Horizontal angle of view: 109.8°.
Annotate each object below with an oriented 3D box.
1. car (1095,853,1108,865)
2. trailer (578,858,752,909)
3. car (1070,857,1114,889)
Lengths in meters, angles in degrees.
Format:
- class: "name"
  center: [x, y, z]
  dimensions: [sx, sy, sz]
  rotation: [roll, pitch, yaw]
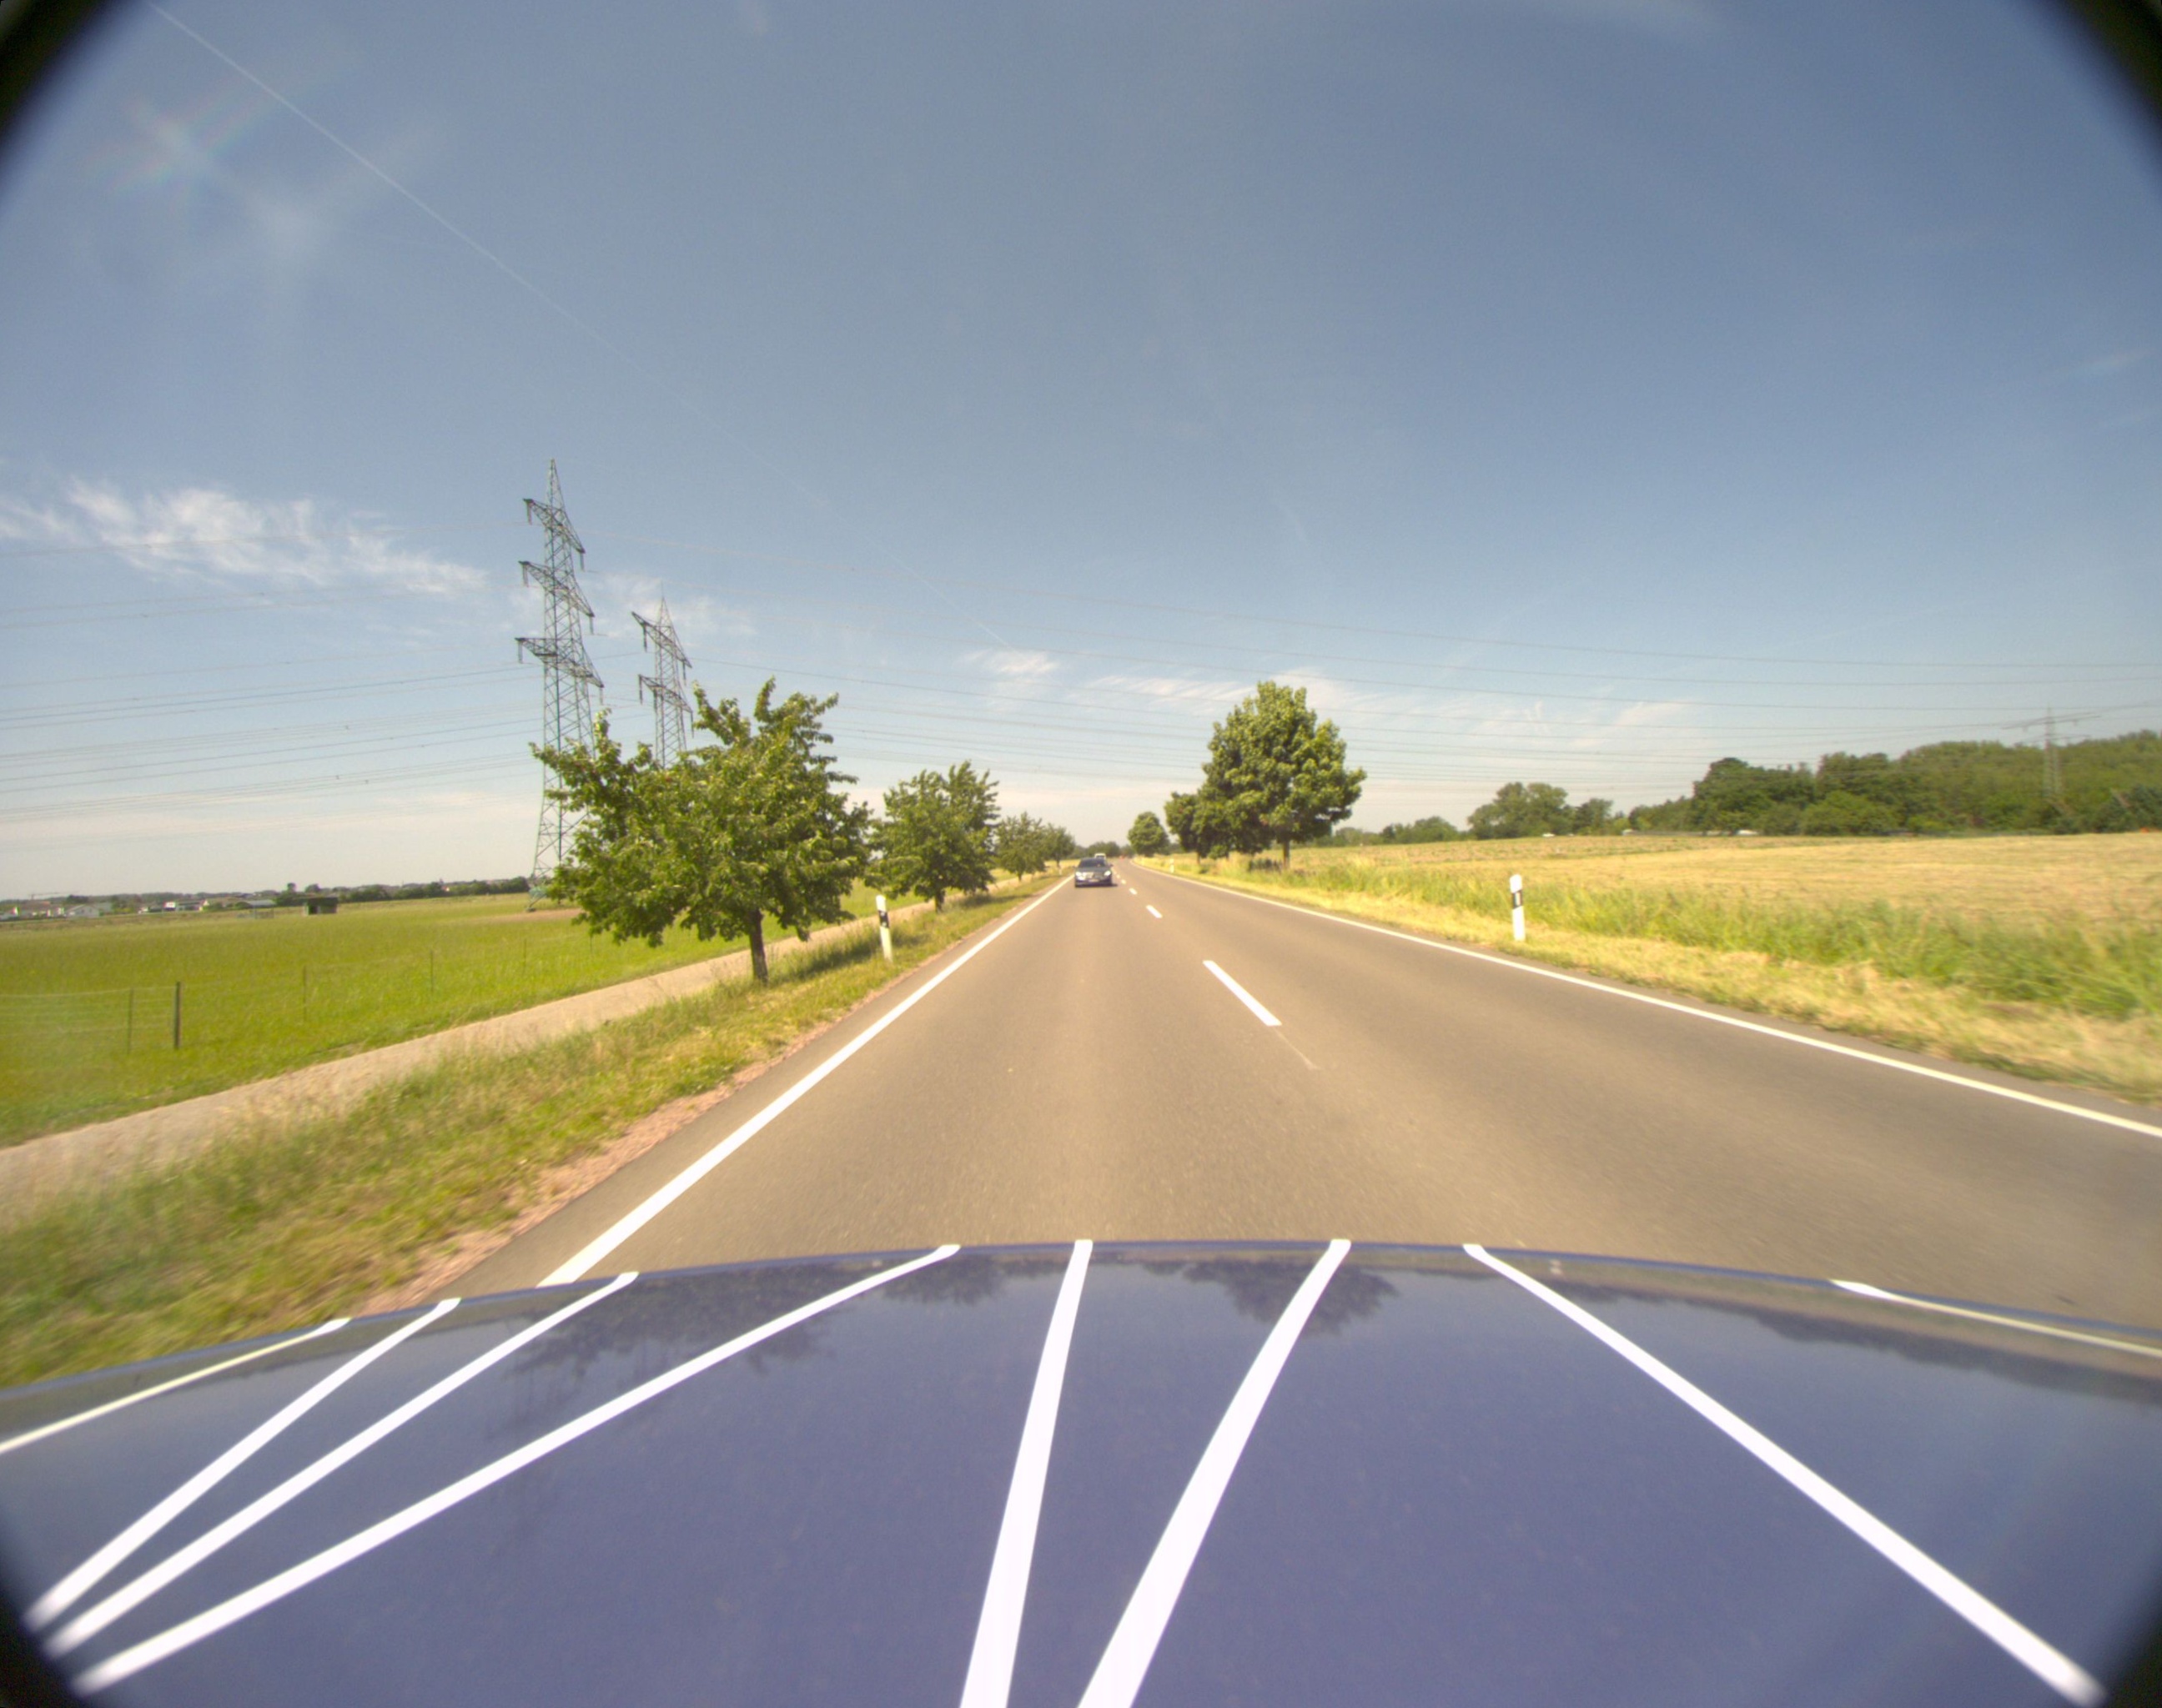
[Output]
- class: "car"
  center: [3.373, 0.786, 123.422]
  dimensions: [1.998, 1.907, 4.206]
  rotation: [-3, 0, 1]
- class: "trailer"
  center: [-34.800, 2.455, 63.955]
  dimensions: [12.441, 3.452, 3.805]
  rotation: [-3, 0, 1]
- class: "car"
  center: [0.491, 0.870, 36.527]
  dimensions: [1.954, 1.391, 4.000]
  rotation: [-1, 0, 0]
